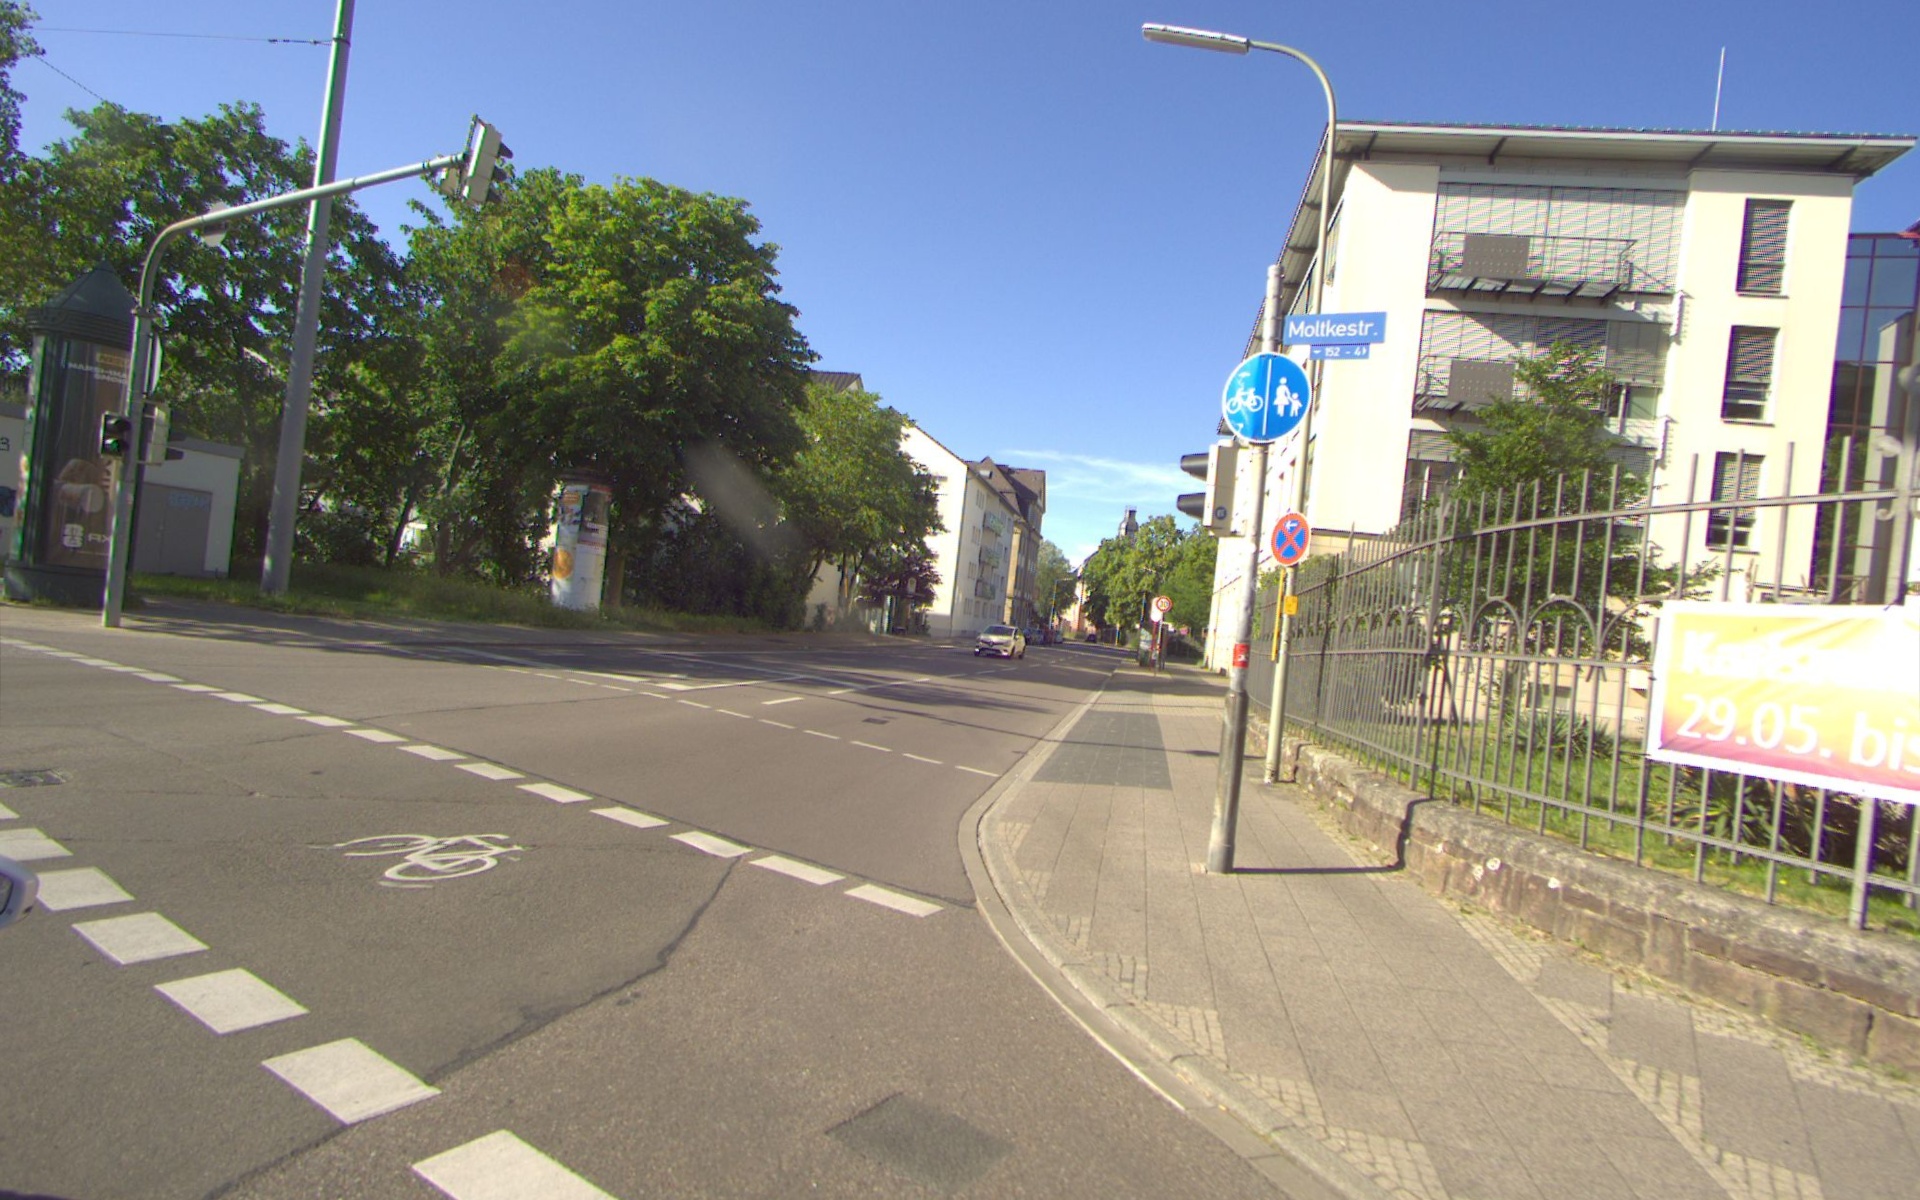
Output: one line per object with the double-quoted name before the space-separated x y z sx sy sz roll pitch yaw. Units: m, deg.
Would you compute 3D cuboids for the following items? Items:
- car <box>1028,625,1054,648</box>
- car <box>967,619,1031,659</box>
"car" 7.015 3.161 86.675 1.765 1.673 4.003 6 -1 10
"car" 1.788 1.777 44.716 1.766 1.485 4.002 6 -1 17
